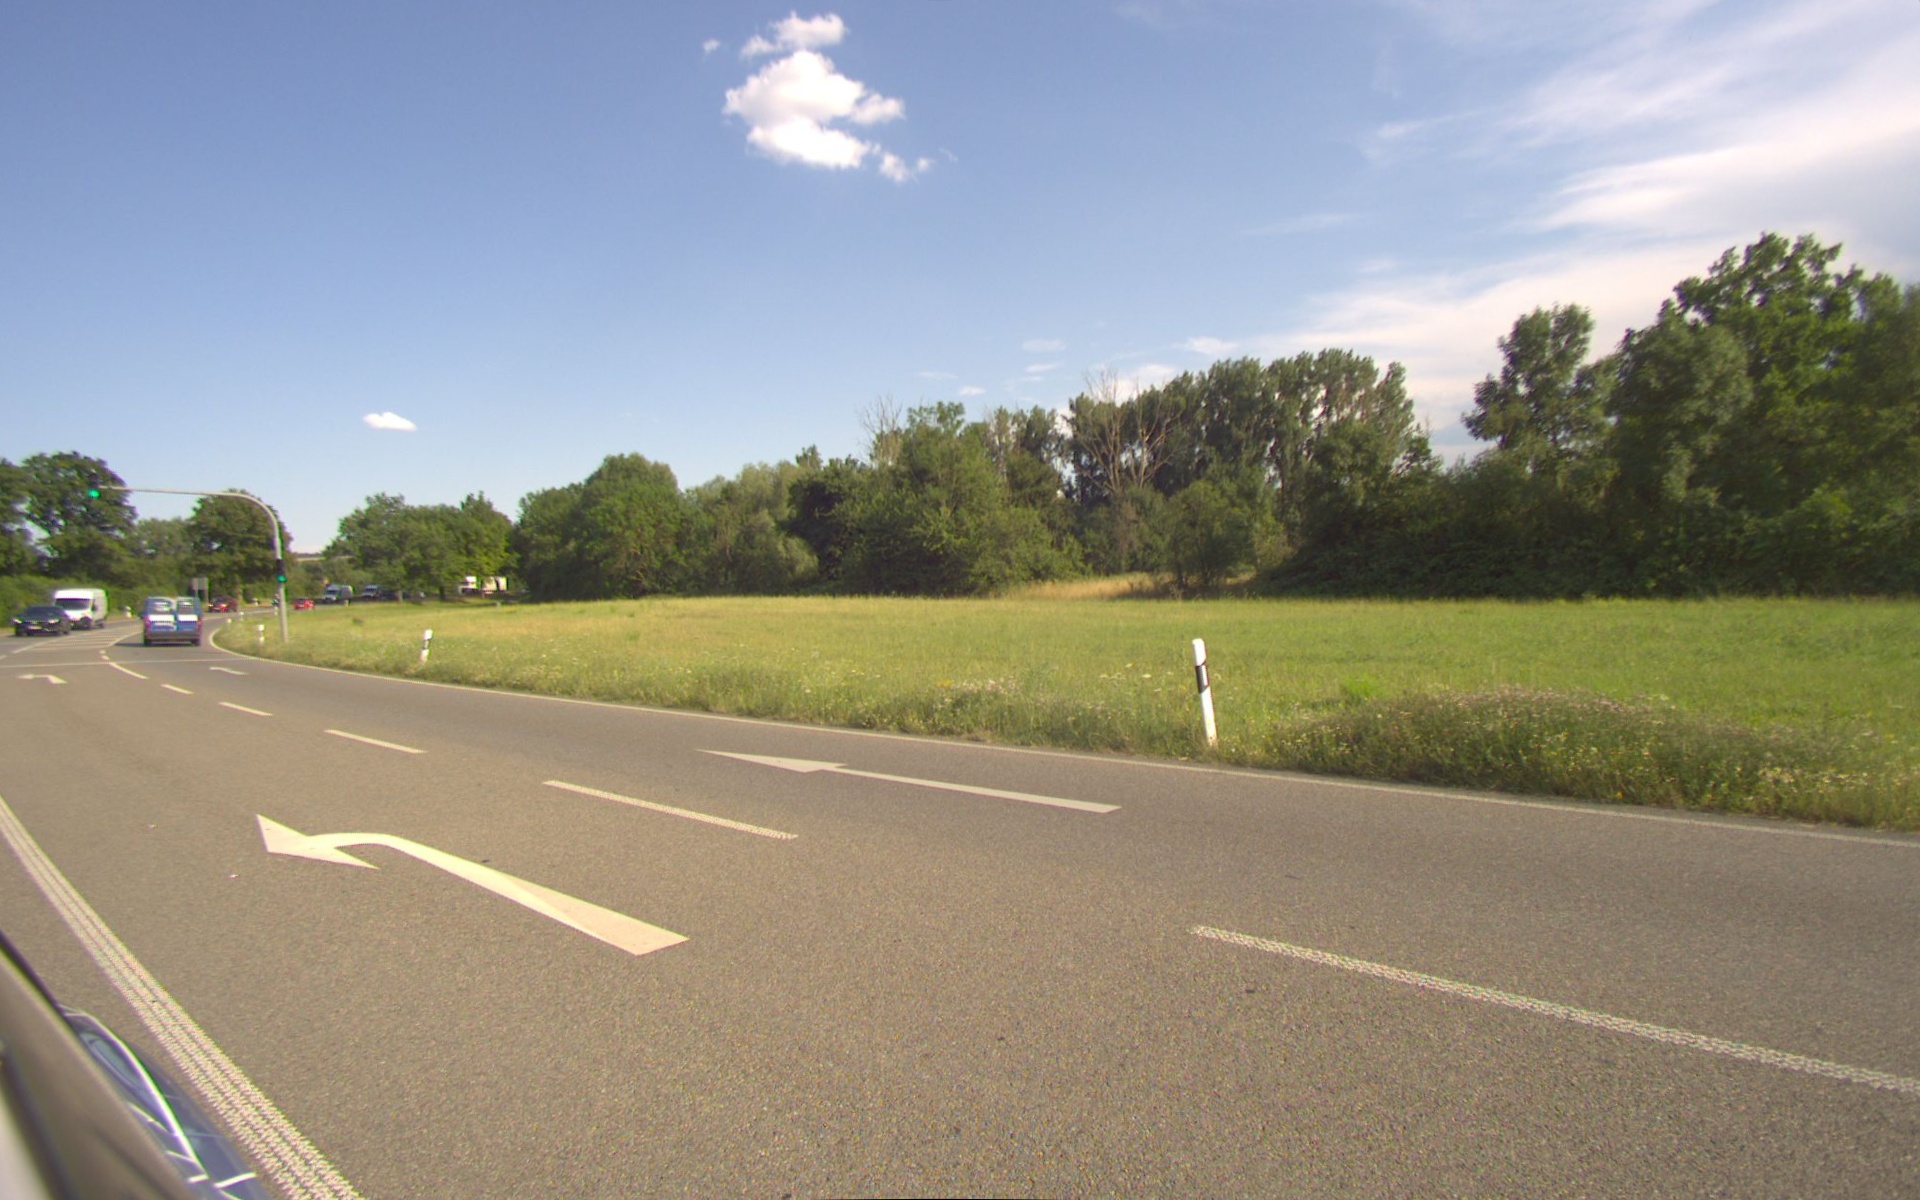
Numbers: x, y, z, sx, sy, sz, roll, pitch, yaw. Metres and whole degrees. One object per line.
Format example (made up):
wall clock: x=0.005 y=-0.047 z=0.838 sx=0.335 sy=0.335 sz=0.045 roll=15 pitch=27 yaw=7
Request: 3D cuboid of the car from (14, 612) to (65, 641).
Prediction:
car: x=-49.211 y=1.394 z=54.143 sx=1.582 sy=1.490 sz=3.625 roll=1 pitch=-2 yaw=-36

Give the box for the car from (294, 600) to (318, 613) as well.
car: x=-79.199 y=0.801 z=122.590 sx=1.563 sy=1.478 sz=3.618 roll=0 pitch=-1 yaw=-17

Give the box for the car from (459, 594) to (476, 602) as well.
car: x=-94.858 y=-0.384 z=195.039 sx=1.615 sy=1.707 sz=3.621 roll=0 pitch=0 yaw=-4

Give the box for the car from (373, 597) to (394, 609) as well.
car: x=-90.529 y=0.507 z=158.946 sx=1.701 sy=1.897 sz=4.347 roll=0 pitch=-1 yaw=-14

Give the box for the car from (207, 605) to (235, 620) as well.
car: x=-80.013 y=1.366 z=109.622 sx=1.646 sy=1.490 sz=3.506 roll=-3 pitch=1 yaw=-22

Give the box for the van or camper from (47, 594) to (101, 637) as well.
van or camper: x=-55.636 y=0.958 z=63.657 sx=2.002 sy=2.494 sz=5.089 roll=-3 pitch=1 yaw=-36

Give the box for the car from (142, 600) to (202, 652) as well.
car: x=-34.877 y=1.110 z=44.779 sx=1.972 sy=2.153 sz=4.788 roll=-1 pitch=0 yaw=-38

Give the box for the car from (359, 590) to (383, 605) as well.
car: x=-95.928 y=-0.425 z=164.817 sx=1.966 sy=2.405 sz=4.950 roll=-3 pitch=1 yaw=-15
